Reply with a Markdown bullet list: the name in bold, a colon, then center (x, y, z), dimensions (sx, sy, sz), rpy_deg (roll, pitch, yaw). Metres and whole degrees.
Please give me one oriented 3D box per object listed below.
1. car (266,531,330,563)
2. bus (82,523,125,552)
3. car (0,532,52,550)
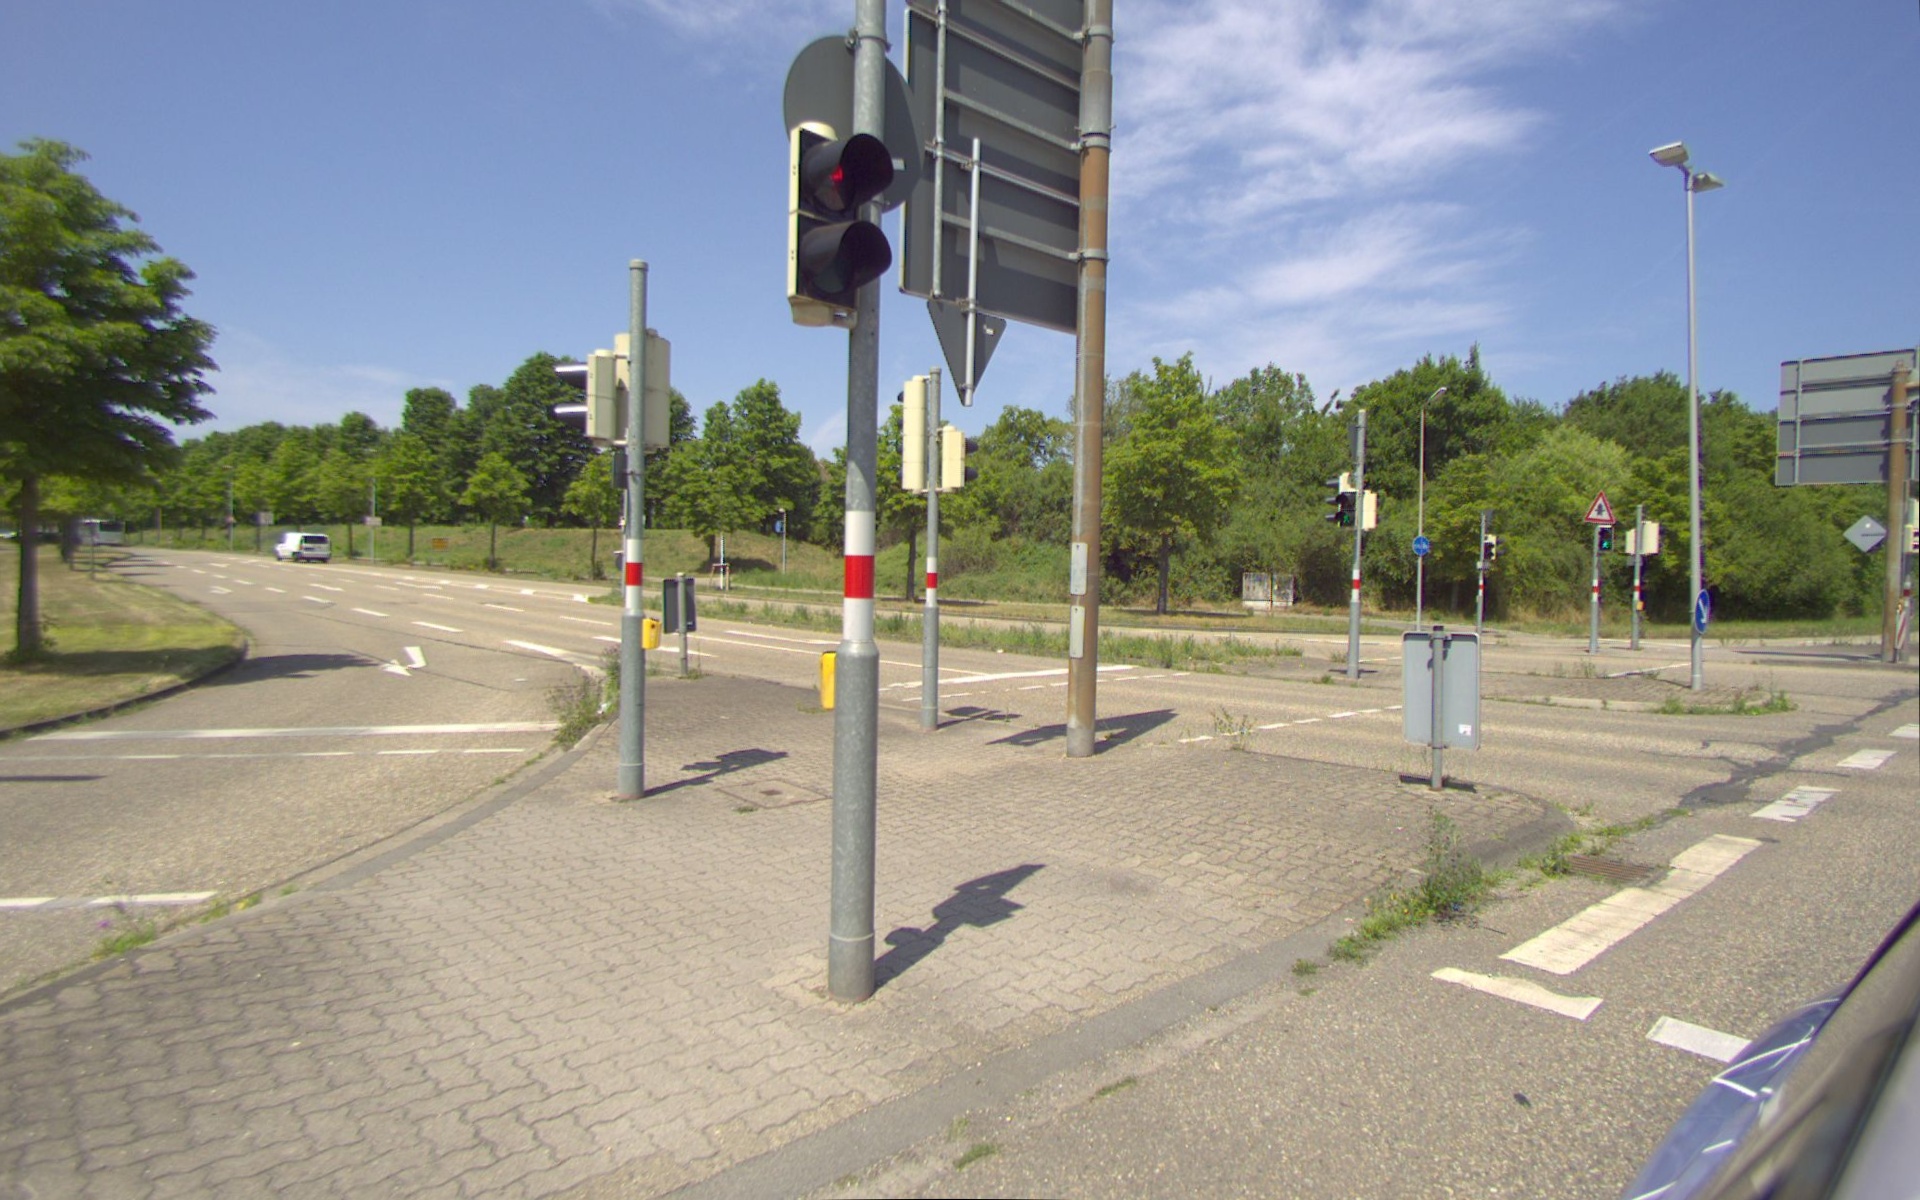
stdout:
- **car**: center (-41.939, -3.372, 64.090), dimensions (4.881, 1.840, 1.842), rpy_deg (4, 2, 37)
- **bus**: center (-99.490, -7.210, 117.434), dimensions (12.042, 3.125, 2.590), rpy_deg (2, 2, 44)
- **car**: center (-86.687, -5.446, 93.798), dimensions (3.762, 1.571, 1.660), rpy_deg (-1, 1, -42)
